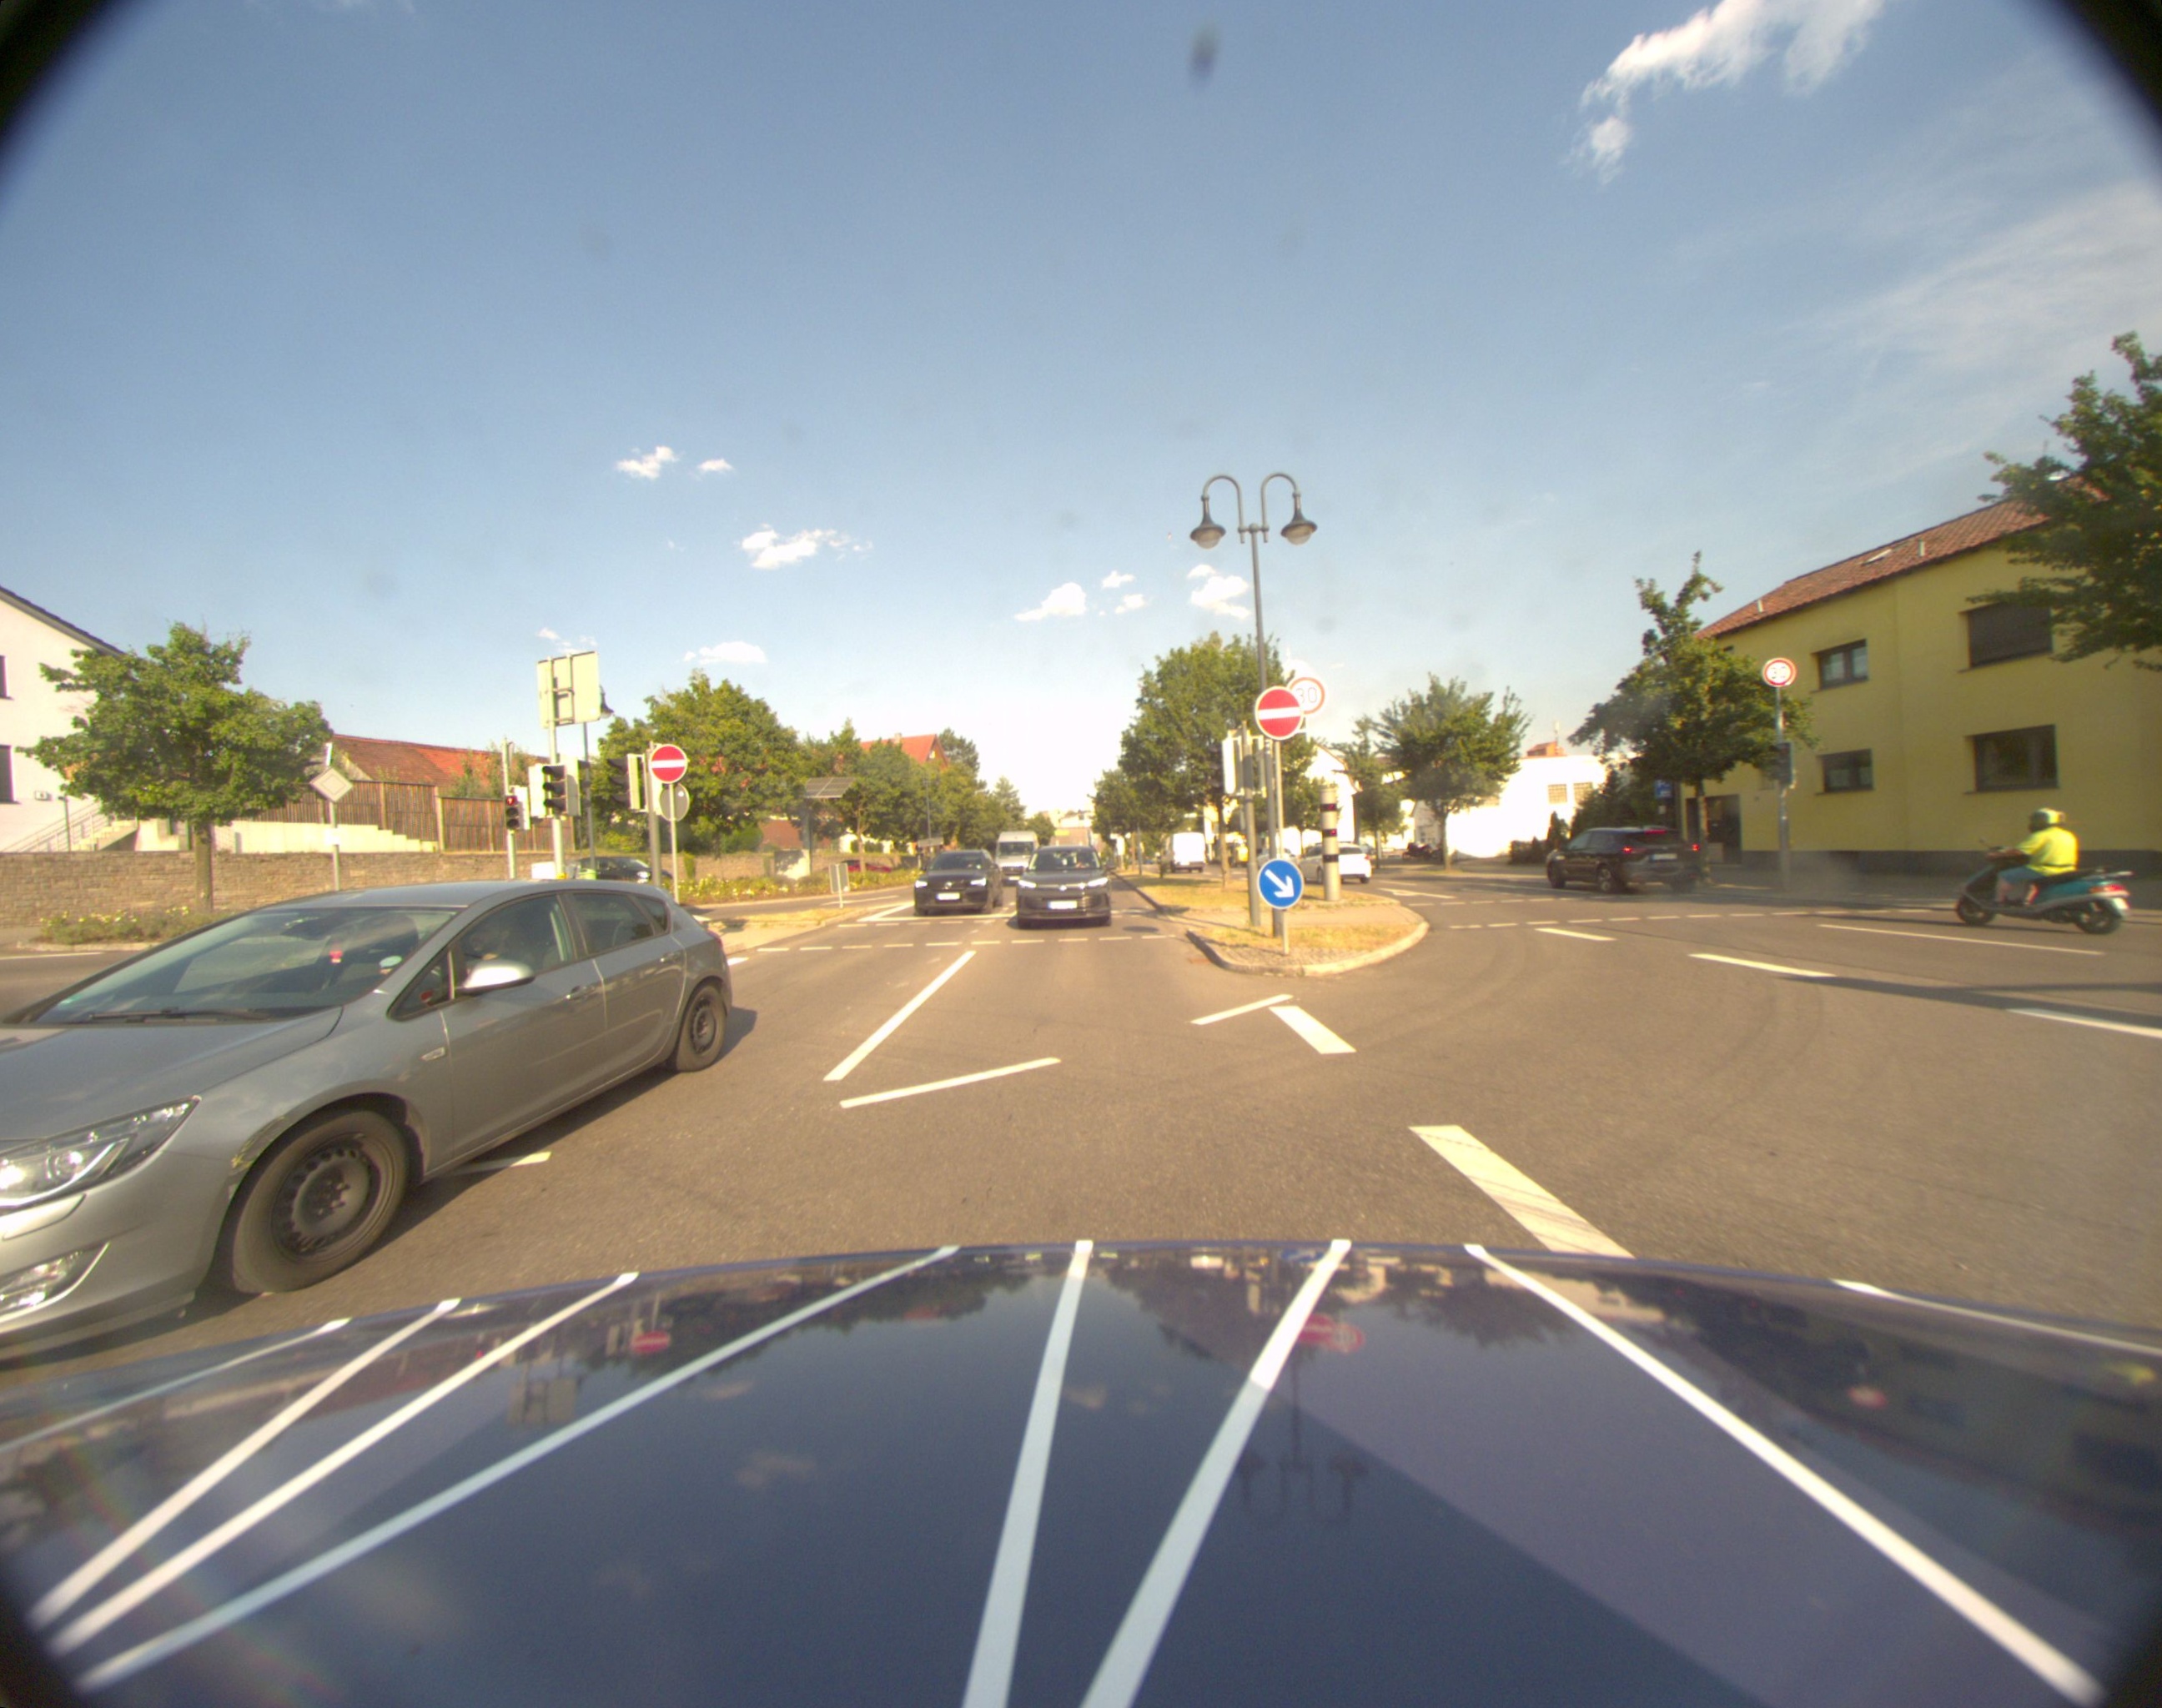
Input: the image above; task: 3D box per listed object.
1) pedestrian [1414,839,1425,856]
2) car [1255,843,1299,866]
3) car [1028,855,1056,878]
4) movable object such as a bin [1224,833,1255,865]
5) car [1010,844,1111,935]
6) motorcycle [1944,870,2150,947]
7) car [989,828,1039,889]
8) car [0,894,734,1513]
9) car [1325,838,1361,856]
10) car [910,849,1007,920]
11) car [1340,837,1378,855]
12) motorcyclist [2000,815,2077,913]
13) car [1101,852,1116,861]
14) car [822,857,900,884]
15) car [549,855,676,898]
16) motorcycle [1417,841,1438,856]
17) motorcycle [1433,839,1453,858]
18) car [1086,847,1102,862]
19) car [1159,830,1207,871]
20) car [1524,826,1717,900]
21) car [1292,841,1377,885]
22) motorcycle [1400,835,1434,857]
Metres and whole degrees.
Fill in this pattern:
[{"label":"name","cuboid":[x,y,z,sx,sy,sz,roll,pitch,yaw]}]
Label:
[{"label":"pedestrian","cuboid":[27.515,-0.534,61.799,0.596,1.332,0.584,-2,1,-7]},{"label":"car","cuboid":[12.600,0.021,48.987,1.695,1.406,4.213,-2,0,0]},{"label":"car","cuboid":[-2.834,0.909,56.239,1.768,1.582,4.056,-3,0,1]},{"label":"movable object such as a bin","cuboid":[12.656,-0.403,60.967,1.556,2.447,4.978,-1,1,2]},{"label":"car","cuboid":[-0.351,0.642,15.943,1.768,1.582,4.056,-3,0,1]},{"label":"motorcycle","cuboid":[12.467,0.669,9.902,0.413,0.855,1.763,-2,0,-1]},{"label":"car","cuboid":[-3.163,0.170,37.099,2.040,2.643,6.646,-1,1,-3]},{"label":"car","cuboid":[-3.614,1.036,3.848,1.651,1.414,4.144,-1,0,2]},{"label":"car","cuboid":[24.790,-0.671,71.840,3.437,1.555,1.583,-3,1,-38]},{"label":"car","cuboid":[-3.080,0.708,19.898,1.792,1.596,4.056,-2,0,1]},{"label":"car","cuboid":[25.146,-0.751,68.650,3.438,1.534,1.617,-2,0,-38]},{"label":"motorcyclist","cuboid":[12.443,0.127,9.882,0.404,1.222,0.461,-2,1,-2]},{"label":"car","cuboid":[5.233,0.525,143.096,1.780,1.516,3.844,-2,0,17]},{"label":"car","cuboid":[-13.020,0.974,45.077,3.994,1.422,1.749,-2,1,8]},{"label":"car","cuboid":[-17.812,0.863,28.935,4.072,1.448,1.680,-2,1,13]},{"label":"motorcycle","cuboid":[28.068,-0.460,61.655,0.488,1.139,2.118,-3,0,-6]},{"label":"motorcycle","cuboid":[21.866,-0.340,45.918,0.549,1.093,2.052,-3,0,40]},{"label":"car","cuboid":[1.730,0.096,101.747,1.816,1.861,4.001,-2,0,4]},{"label":"car","cuboid":[6.639,-0.244,49.949,2.090,2.461,5.477,-2,0,-3]},{"label":"car","cuboid":[13.412,0.189,19.283,1.859,1.586,4.460,-2,0,3]},{"label":"car","cuboid":[9.201,0.297,27.904,1.761,1.403,4.000,-2,0,0]},{"label":"motorcycle","cuboid":[22.212,-0.510,50.210,0.489,1.315,2.114,-3,0,-30]}]
